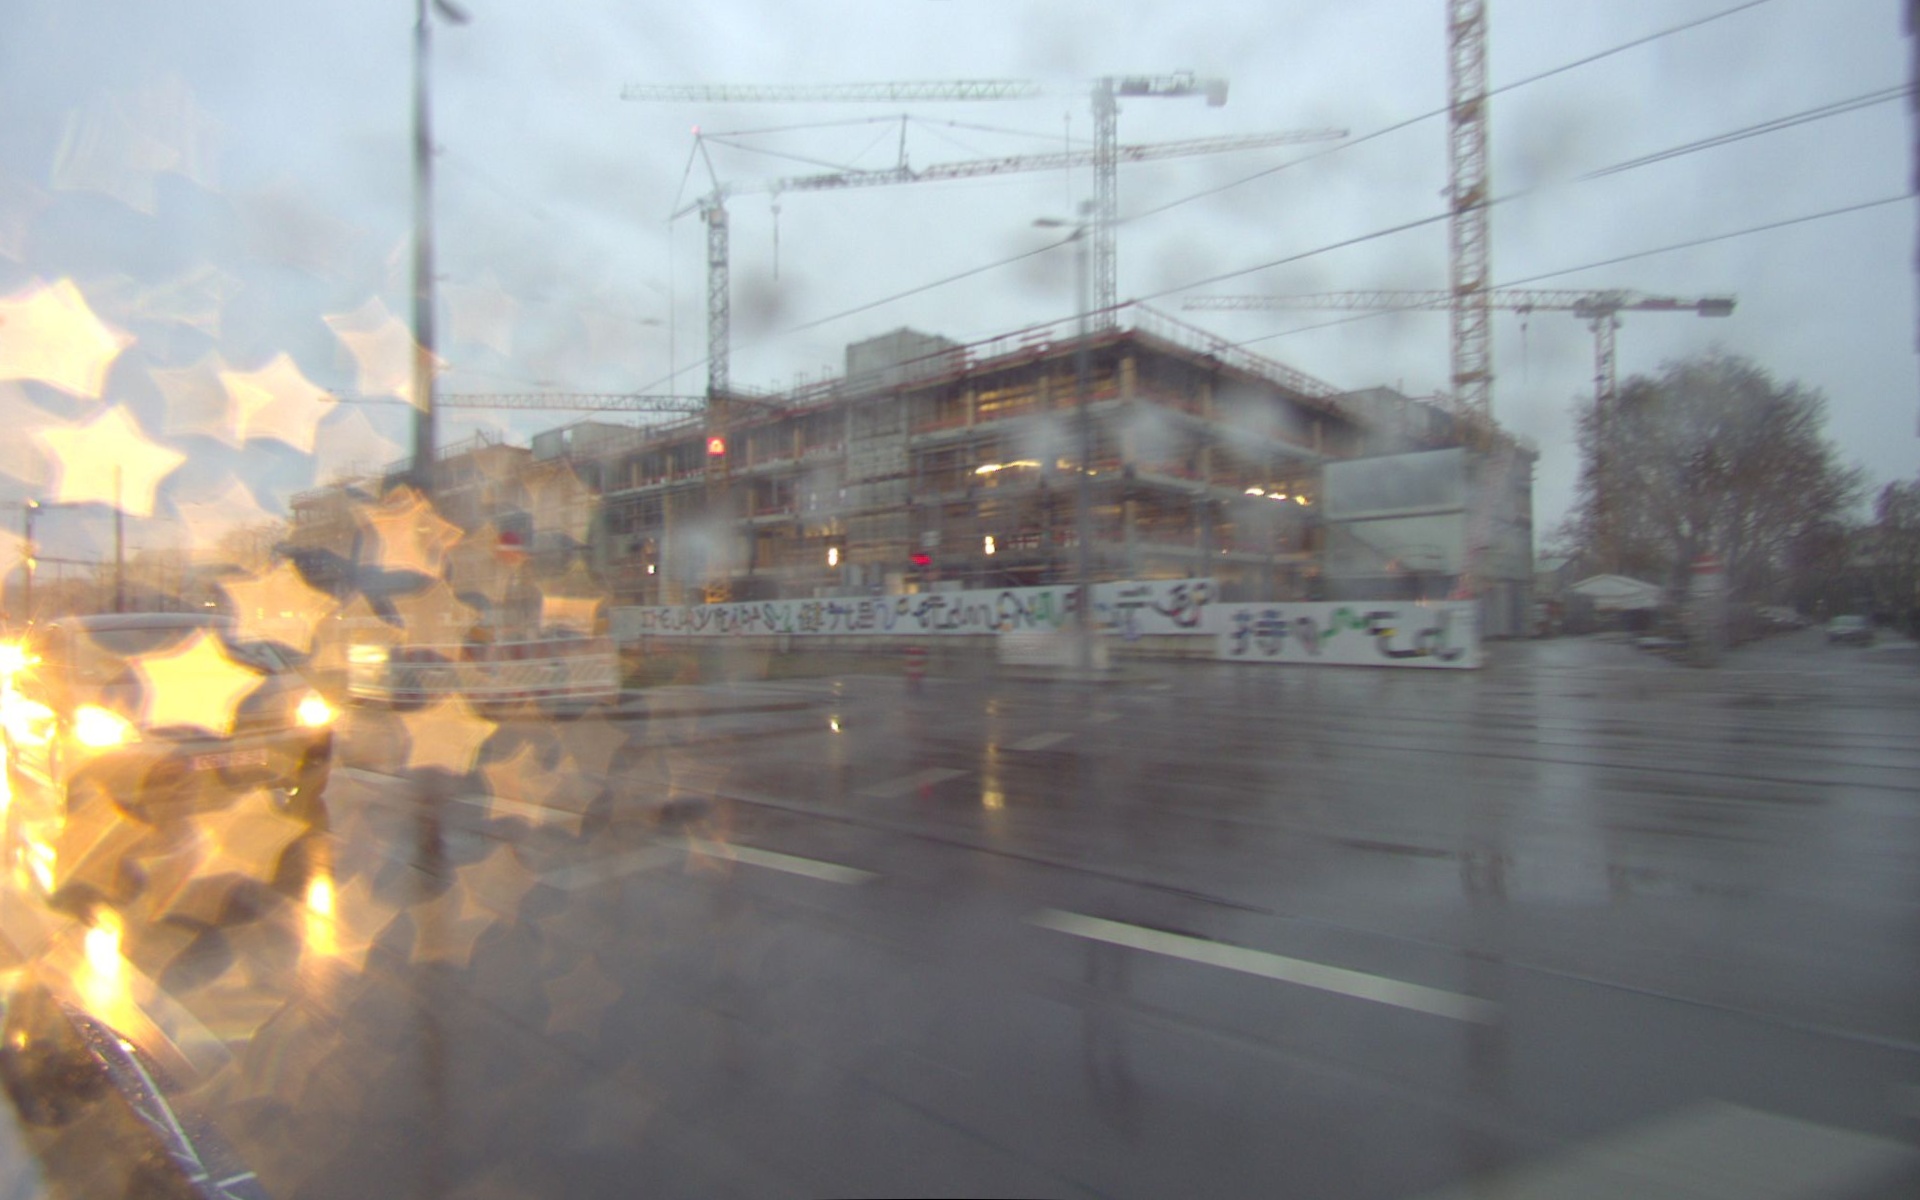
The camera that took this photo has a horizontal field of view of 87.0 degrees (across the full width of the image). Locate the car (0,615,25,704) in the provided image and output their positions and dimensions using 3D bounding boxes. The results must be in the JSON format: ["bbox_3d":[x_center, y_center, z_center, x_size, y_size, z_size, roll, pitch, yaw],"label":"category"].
[{"bbox_3d":[-20.823,1.228,20.946,4.000,1.746,1.833,-2,0,43],"label":"car"}]

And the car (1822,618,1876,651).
[{"bbox_3d":[45.180,1.741,51.393,1.888,1.586,3.943,-2,-2,43],"label":"car"}]

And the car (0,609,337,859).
[{"bbox_3d":[-6.994,0.930,8.658,3.998,1.606,1.741,-2,0,42],"label":"car"}]
